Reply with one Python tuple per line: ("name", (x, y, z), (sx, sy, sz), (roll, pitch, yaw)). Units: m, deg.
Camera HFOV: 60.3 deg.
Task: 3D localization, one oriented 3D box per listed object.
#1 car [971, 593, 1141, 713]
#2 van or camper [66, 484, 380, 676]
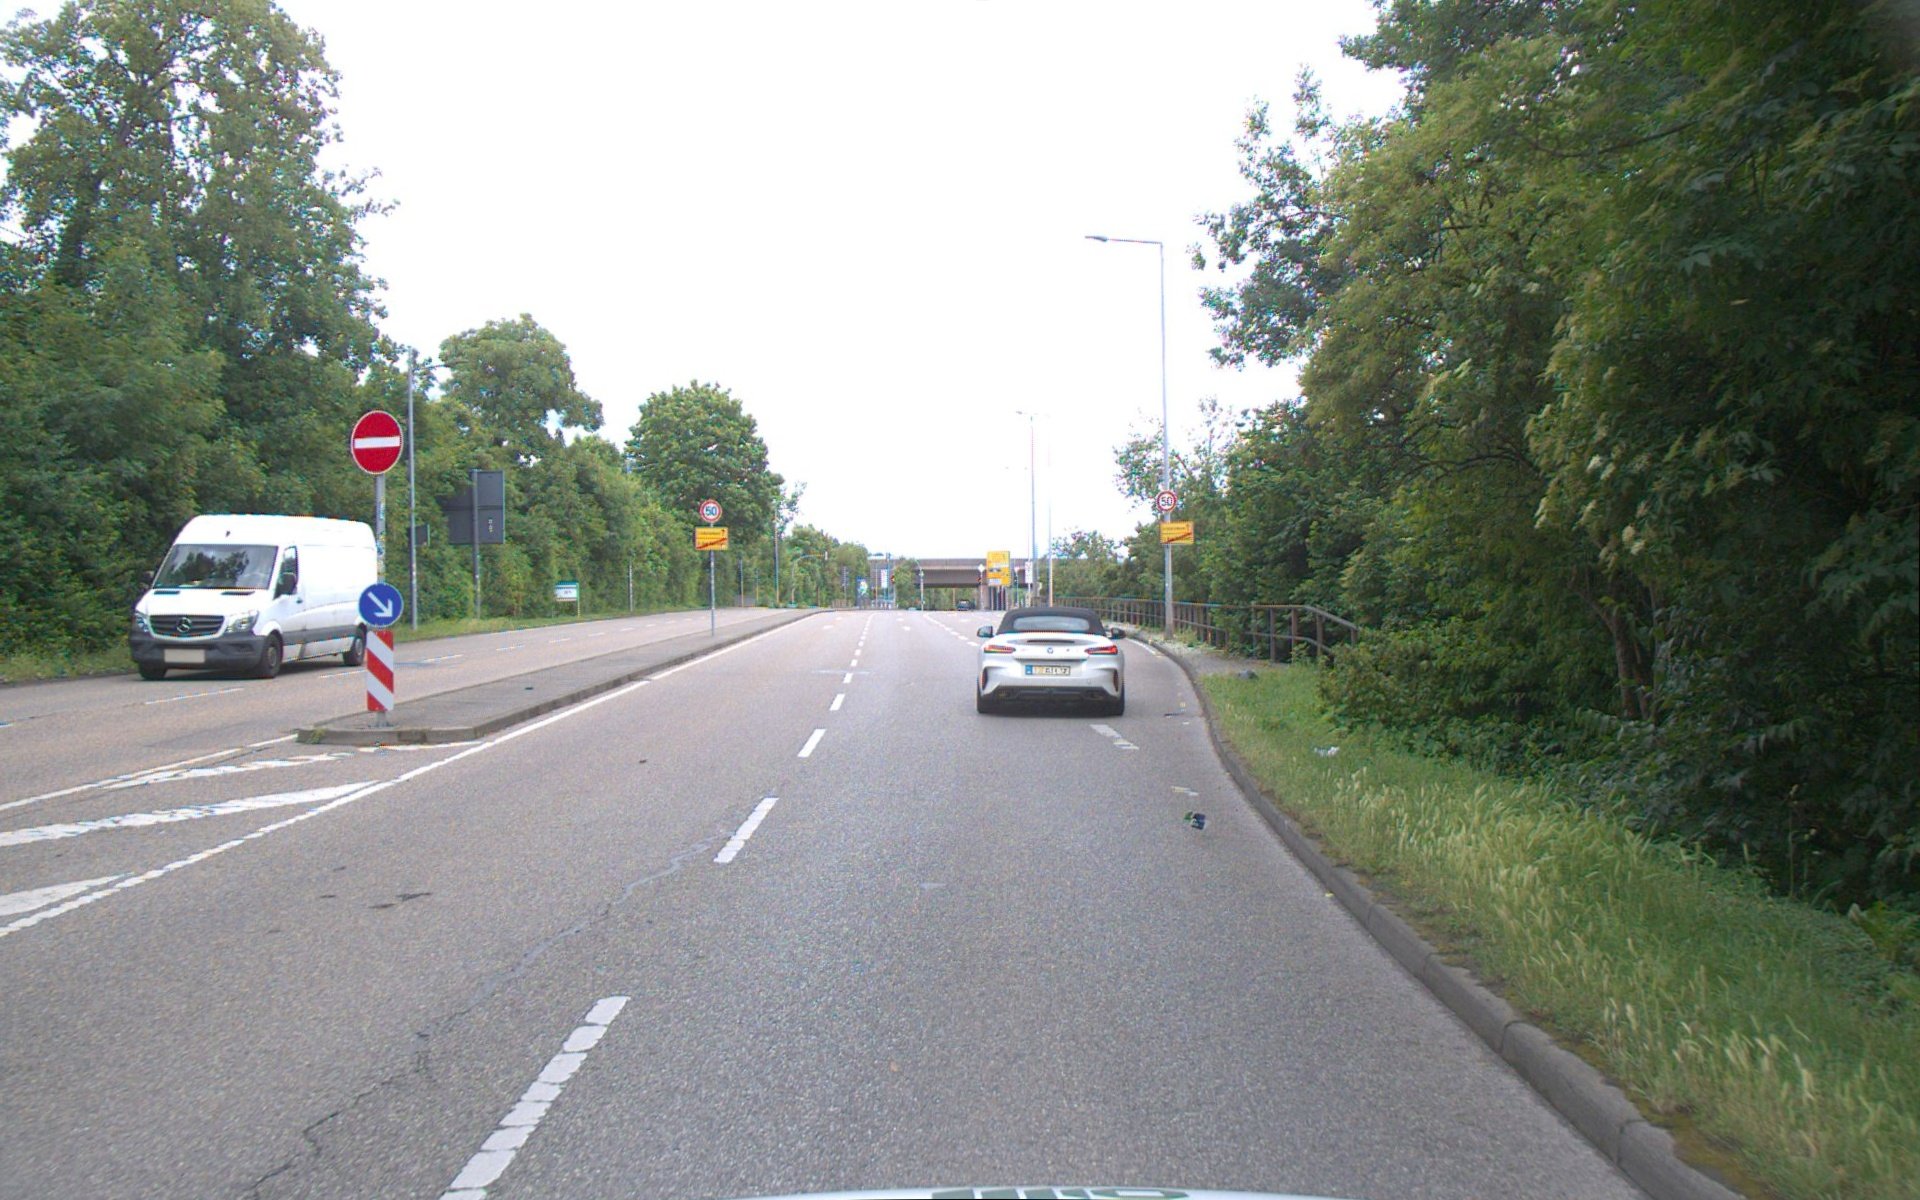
("car", (1.118, 0.612, 20.923), (1.837, 1.332, 3.872), (1, 0, -1))
("van or camper", (-11.693, -0.319, 26.984), (2.238, 2.599, 6.855), (3, 0, -3))
